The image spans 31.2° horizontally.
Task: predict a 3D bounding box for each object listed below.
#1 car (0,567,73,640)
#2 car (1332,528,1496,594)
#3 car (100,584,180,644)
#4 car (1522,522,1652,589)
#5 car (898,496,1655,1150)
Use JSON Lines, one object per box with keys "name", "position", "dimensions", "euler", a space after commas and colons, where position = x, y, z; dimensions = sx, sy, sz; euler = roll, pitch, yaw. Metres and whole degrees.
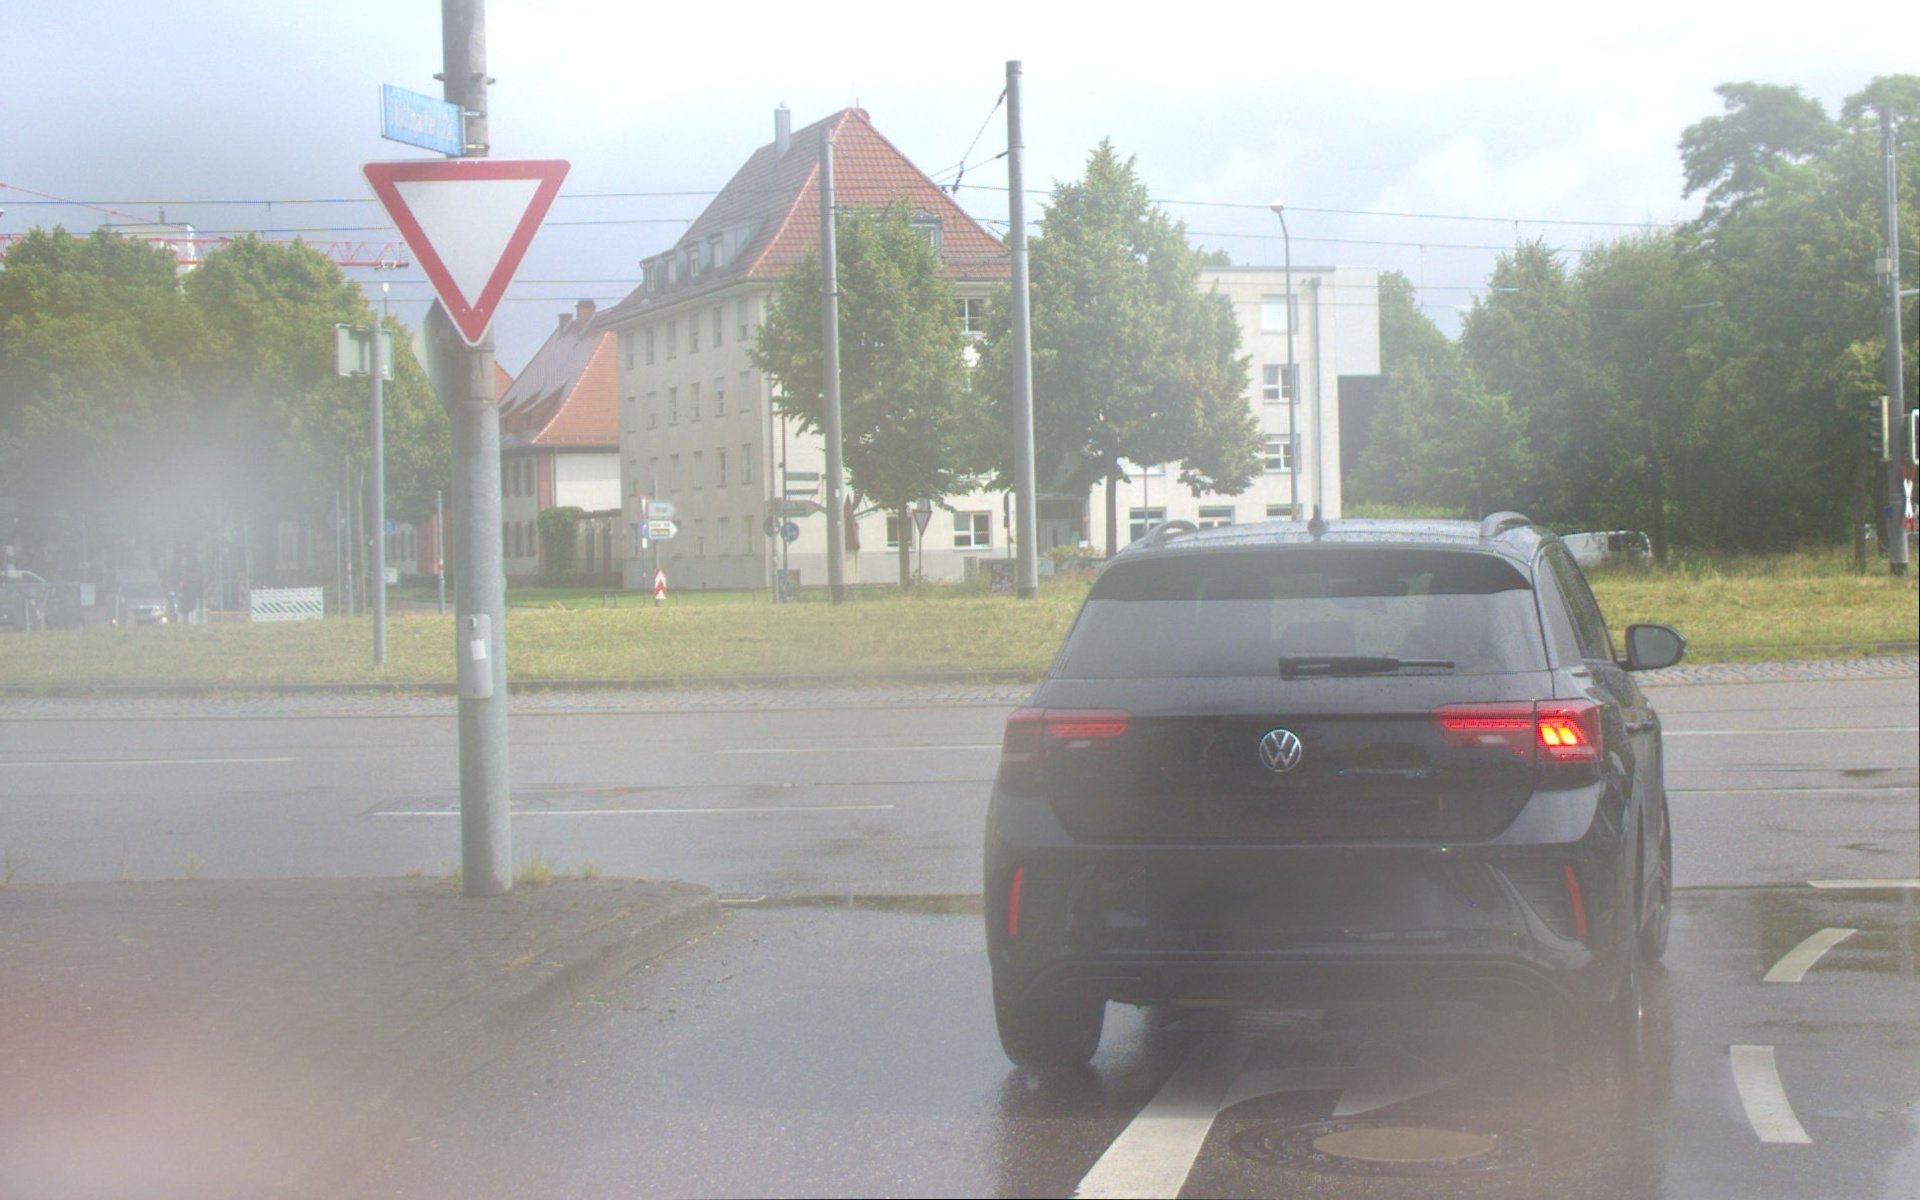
{"name": "car", "position": [-21.932, 0.066, 79.722], "dimensions": [1.791, 1.579, 4.001], "euler": [-1, 1, -2]}
{"name": "car", "position": [10.789, -0.927, 81.733], "dimensions": [3.494, 1.449, 1.548], "euler": [-1, 2, 29]}
{"name": "car", "position": [-22.728, 0.368, 95.337], "dimensions": [1.545, 1.555, 3.501], "euler": [-1, 1, -4]}
{"name": "car", "position": [20.335, -1.465, 111.680], "dimensions": [2.106, 2.050, 5.163], "euler": [-2, 2, -15]}
{"name": "car", "position": [1.177, 0.493, 10.658], "dimensions": [1.898, 1.612, 3.998], "euler": [0, 2, 12]}
